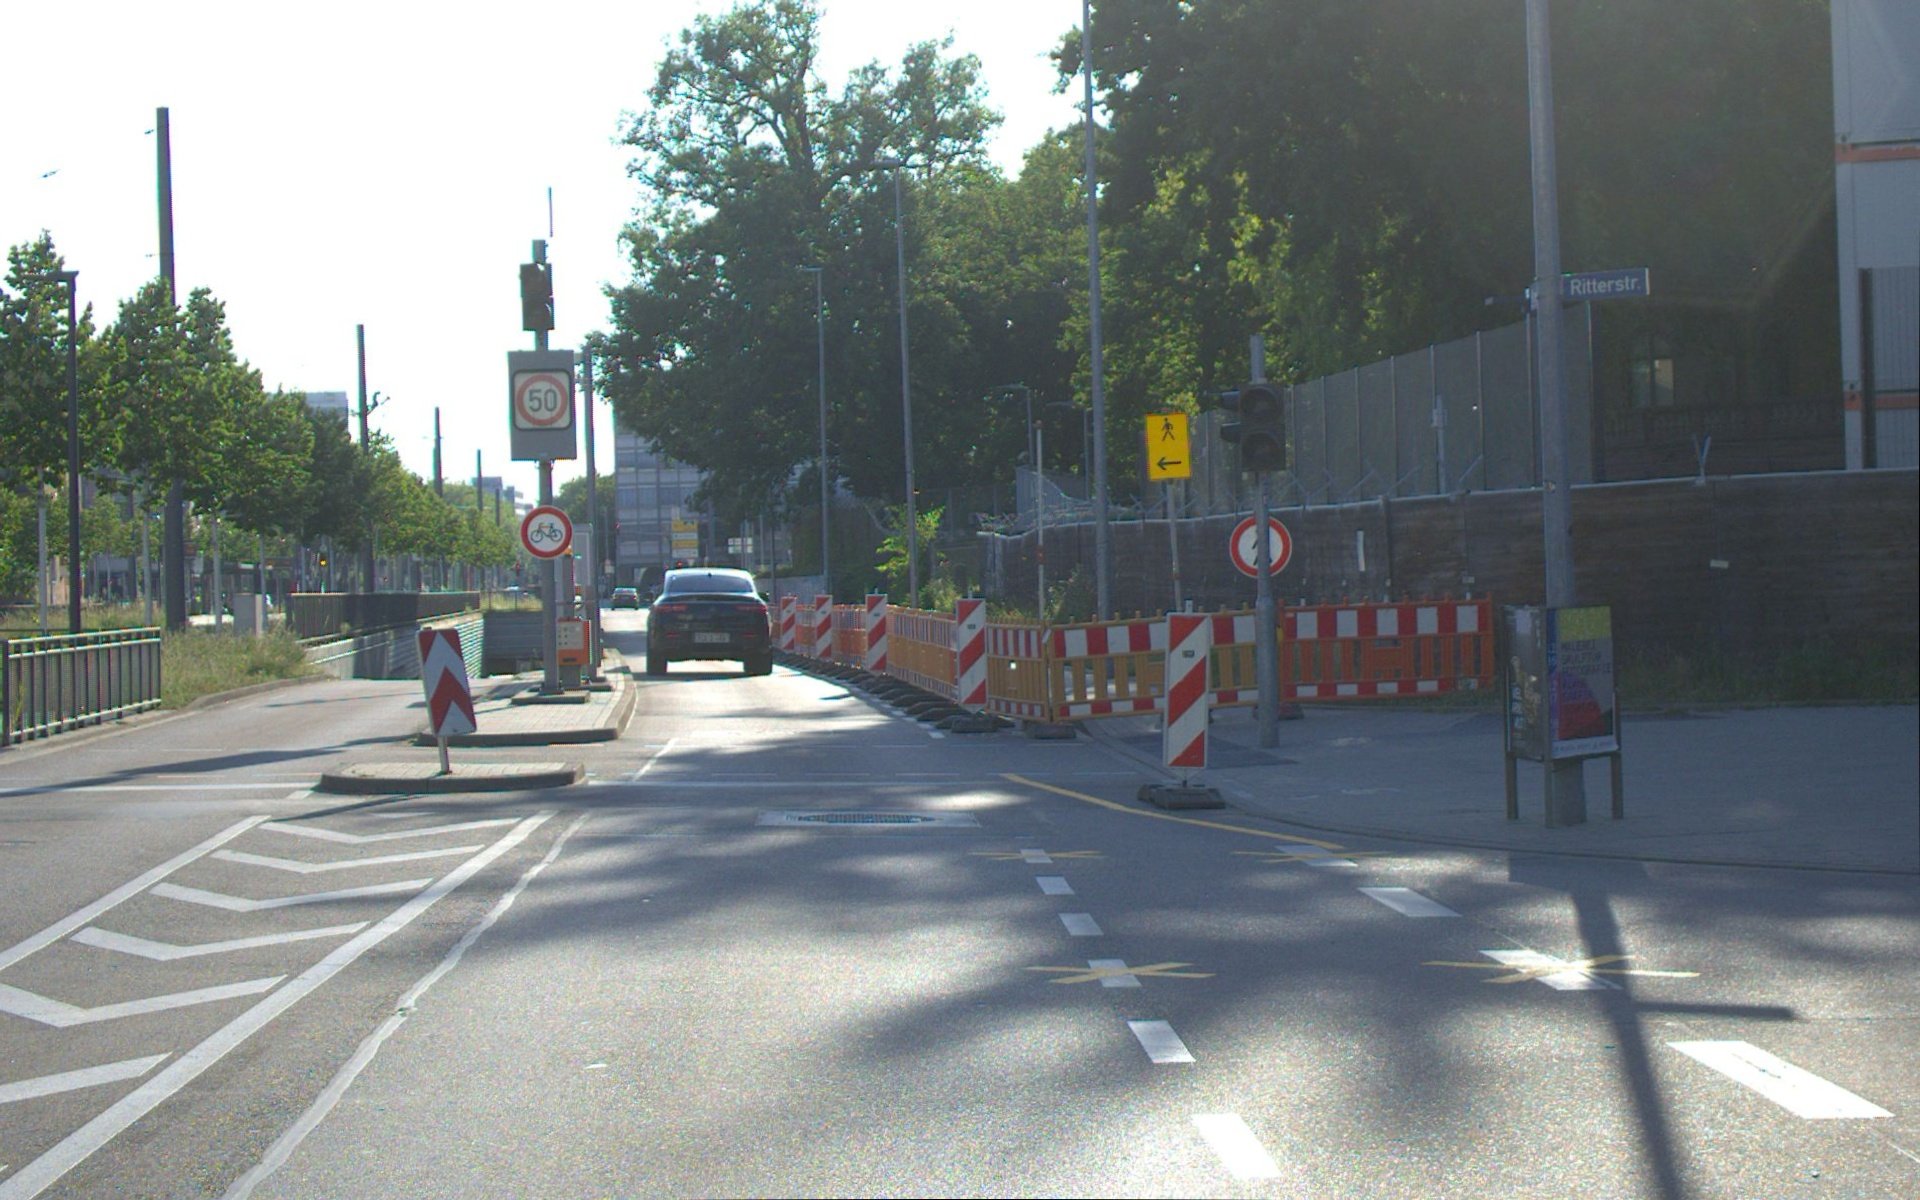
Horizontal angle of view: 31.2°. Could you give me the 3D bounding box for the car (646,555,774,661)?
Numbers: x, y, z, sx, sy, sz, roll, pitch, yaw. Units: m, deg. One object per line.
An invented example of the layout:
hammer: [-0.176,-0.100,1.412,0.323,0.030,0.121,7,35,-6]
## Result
car: [-4.120,0.129,56.237,2.005,1.653,4.001,0,0,-5]
